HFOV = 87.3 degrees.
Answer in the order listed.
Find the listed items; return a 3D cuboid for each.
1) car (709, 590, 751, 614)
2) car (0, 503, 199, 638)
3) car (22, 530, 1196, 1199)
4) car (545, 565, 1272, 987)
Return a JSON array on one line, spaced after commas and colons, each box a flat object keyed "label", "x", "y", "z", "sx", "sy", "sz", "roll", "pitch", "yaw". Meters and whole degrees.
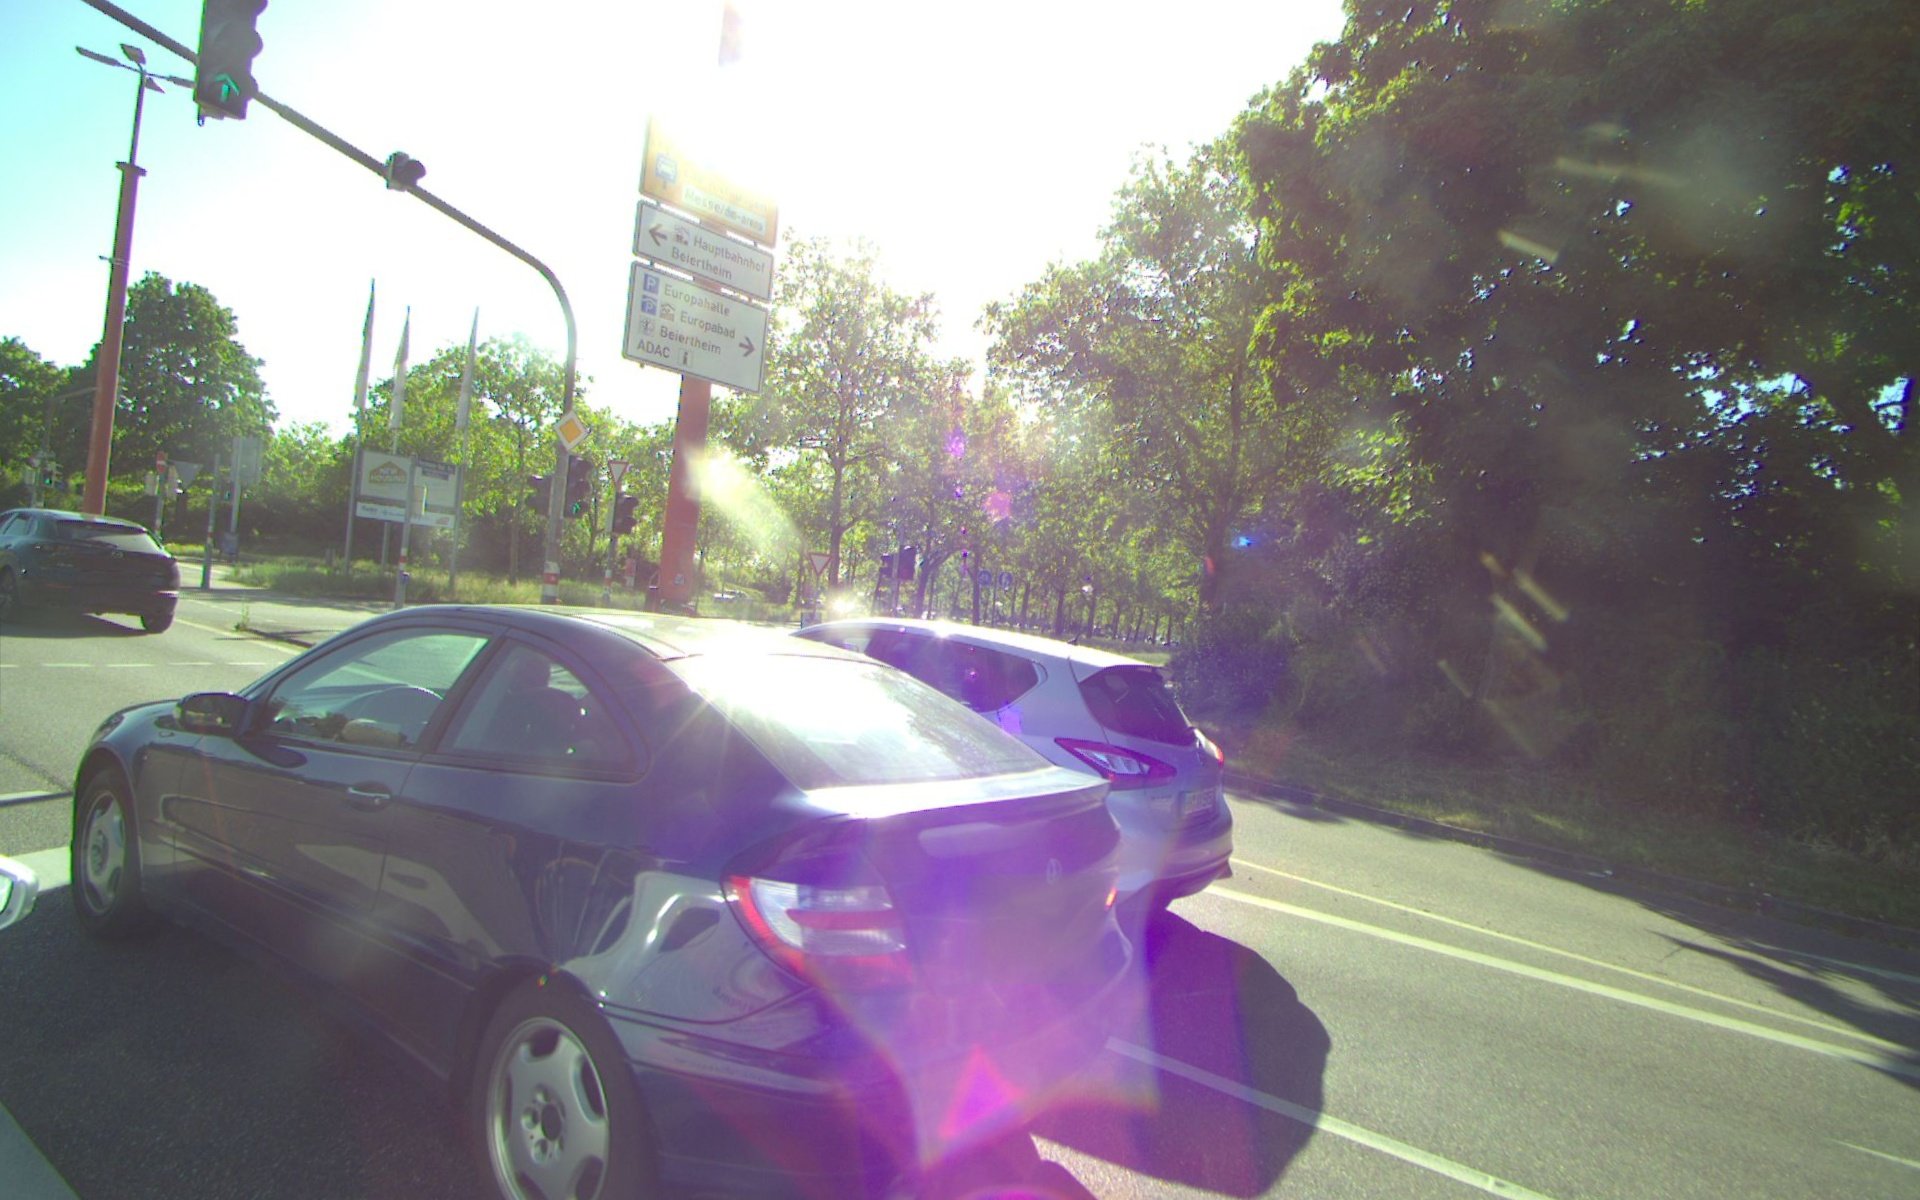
[{"label": "car", "x": -19.694, "y": 0.189, "z": 86.337, "sx": 1.831, "sy": 1.534, "sz": 4.143, "roll": 7, "pitch": -2, "yaw": 11}, {"label": "car", "x": -12.925, "y": -0.486, "z": 14.450, "sx": 4.158, "sy": 1.525, "sz": 1.770, "roll": 6, "pitch": -2, "yaw": 33}, {"label": "car", "x": -1.443, "y": 0.690, "z": 3.559, "sx": 3.984, "sy": 1.437, "sz": 1.721, "roll": 6, "pitch": -1, "yaw": 33}, {"label": "car", "x": -0.448, "y": 0.804, "z": 6.160, "sx": 4.070, "sy": 1.535, "sz": 1.724, "roll": 6, "pitch": -2, "yaw": 33}]
